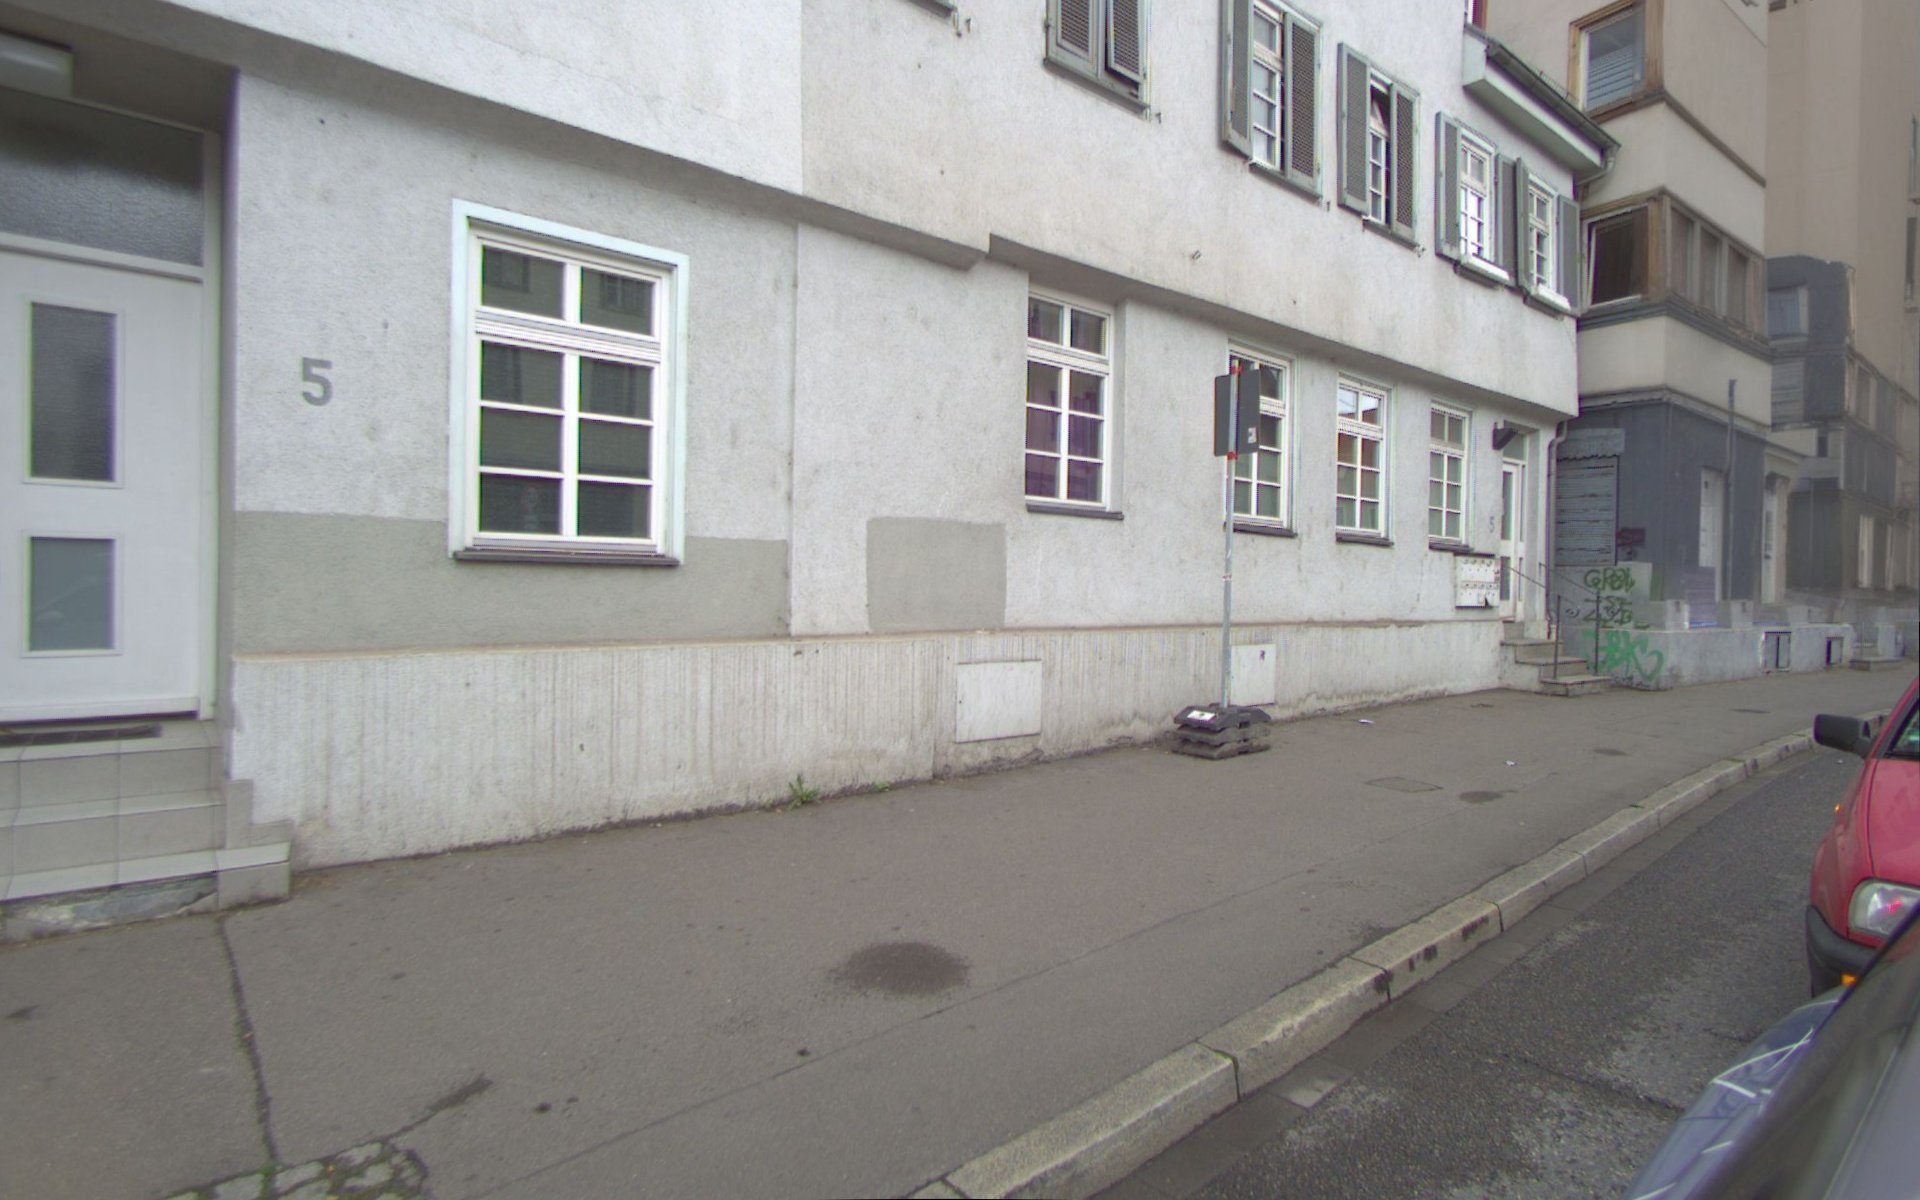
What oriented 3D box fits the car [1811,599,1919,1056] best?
[{"bbox_3d":[5.029,0.736,4.093,3.930,1.485,1.802,0,-2,-41],"label":"car"}]
